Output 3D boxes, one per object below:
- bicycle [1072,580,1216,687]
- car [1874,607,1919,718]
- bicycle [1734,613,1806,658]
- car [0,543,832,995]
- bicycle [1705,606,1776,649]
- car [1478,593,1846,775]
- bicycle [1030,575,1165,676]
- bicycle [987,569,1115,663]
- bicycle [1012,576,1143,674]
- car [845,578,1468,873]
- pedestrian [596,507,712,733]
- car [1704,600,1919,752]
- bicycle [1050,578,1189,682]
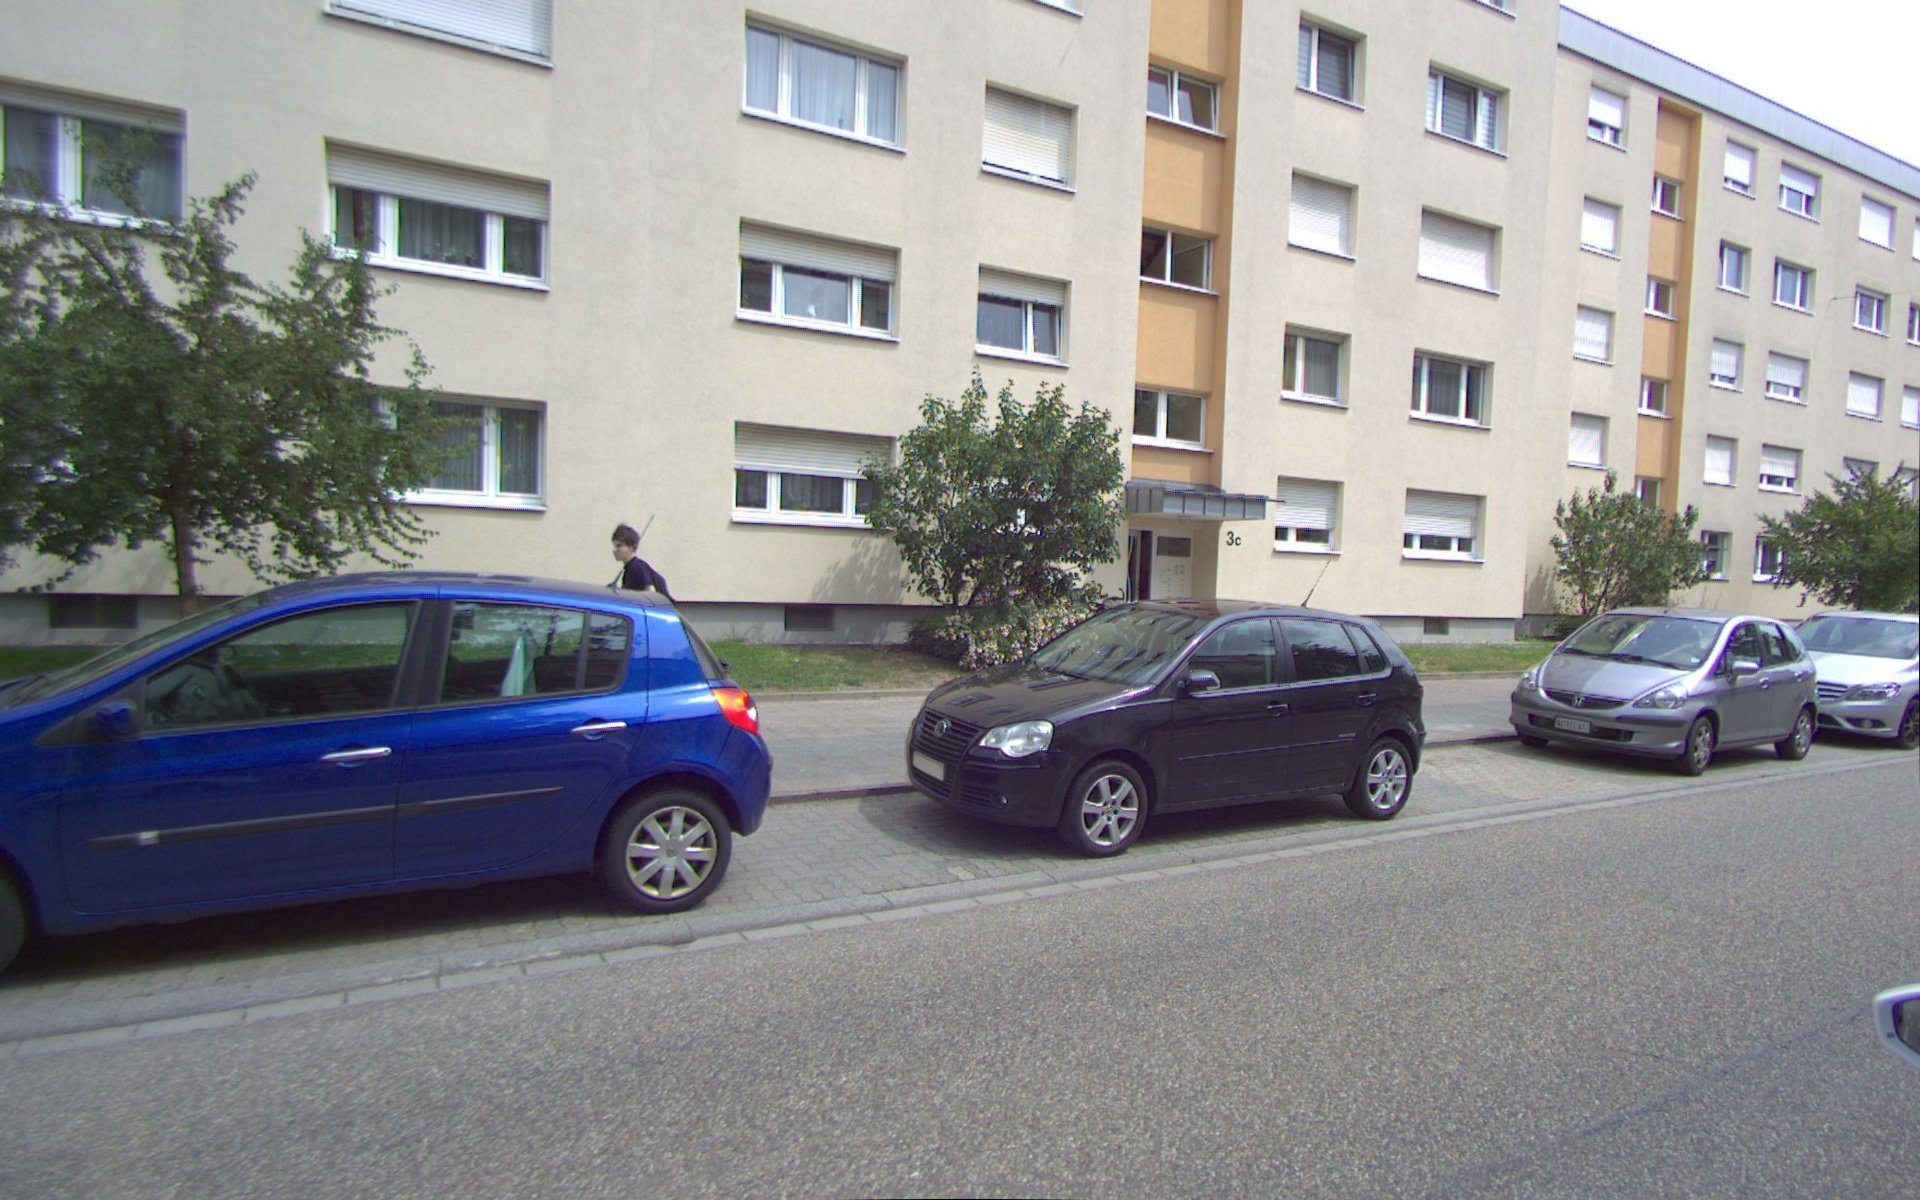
[{"bbox_3d":[2.588,0.446,14.065,2.102,1.412,0.460,0,2,-26],"label":"bicycle"},{"bbox_3d":[16.268,0.999,15.640,4.540,1.601,1.680,1,3,-31],"label":"car"},{"bbox_3d":[19.078,0.826,23.651,2.416,0.993,0.450,0,2,-30],"label":"bicycle"},{"bbox_3d":[-2.738,0.566,4.700,3.836,1.503,1.810,1,3,-28],"label":"car"},{"bbox_3d":[18.781,0.640,24.147,2.416,0.993,0.450,0,2,-30],"label":"bicycle"},{"bbox_3d":[7.475,0.738,10.627,3.958,1.560,1.713,0,2,-31],"label":"car"},{"bbox_3d":[2.081,0.371,15.081,2.102,1.444,0.460,0,2,-27],"label":"bicycle"},{"bbox_3d":[1.477,0.247,16.089,2.102,1.444,0.460,0,2,-27],"label":"bicycle"},{"bbox_3d":[1.845,0.366,15.594,2.102,1.444,0.460,0,2,-27],"label":"bicycle"},{"bbox_3d":[1.432,0.690,7.099,4.065,1.503,1.810,1,3,-29],"label":"car"},{"bbox_3d":[-2.642,0.164,8.660,0.795,1.837,0.616,1,1,-32],"label":"pedestrian"},{"bbox_3d":[11.865,0.888,13.086,4.513,1.601,1.746,1,3,-29],"label":"car"},{"bbox_3d":[2.330,0.415,14.574,2.102,1.431,0.460,0,2,-27],"label":"bicycle"}]
